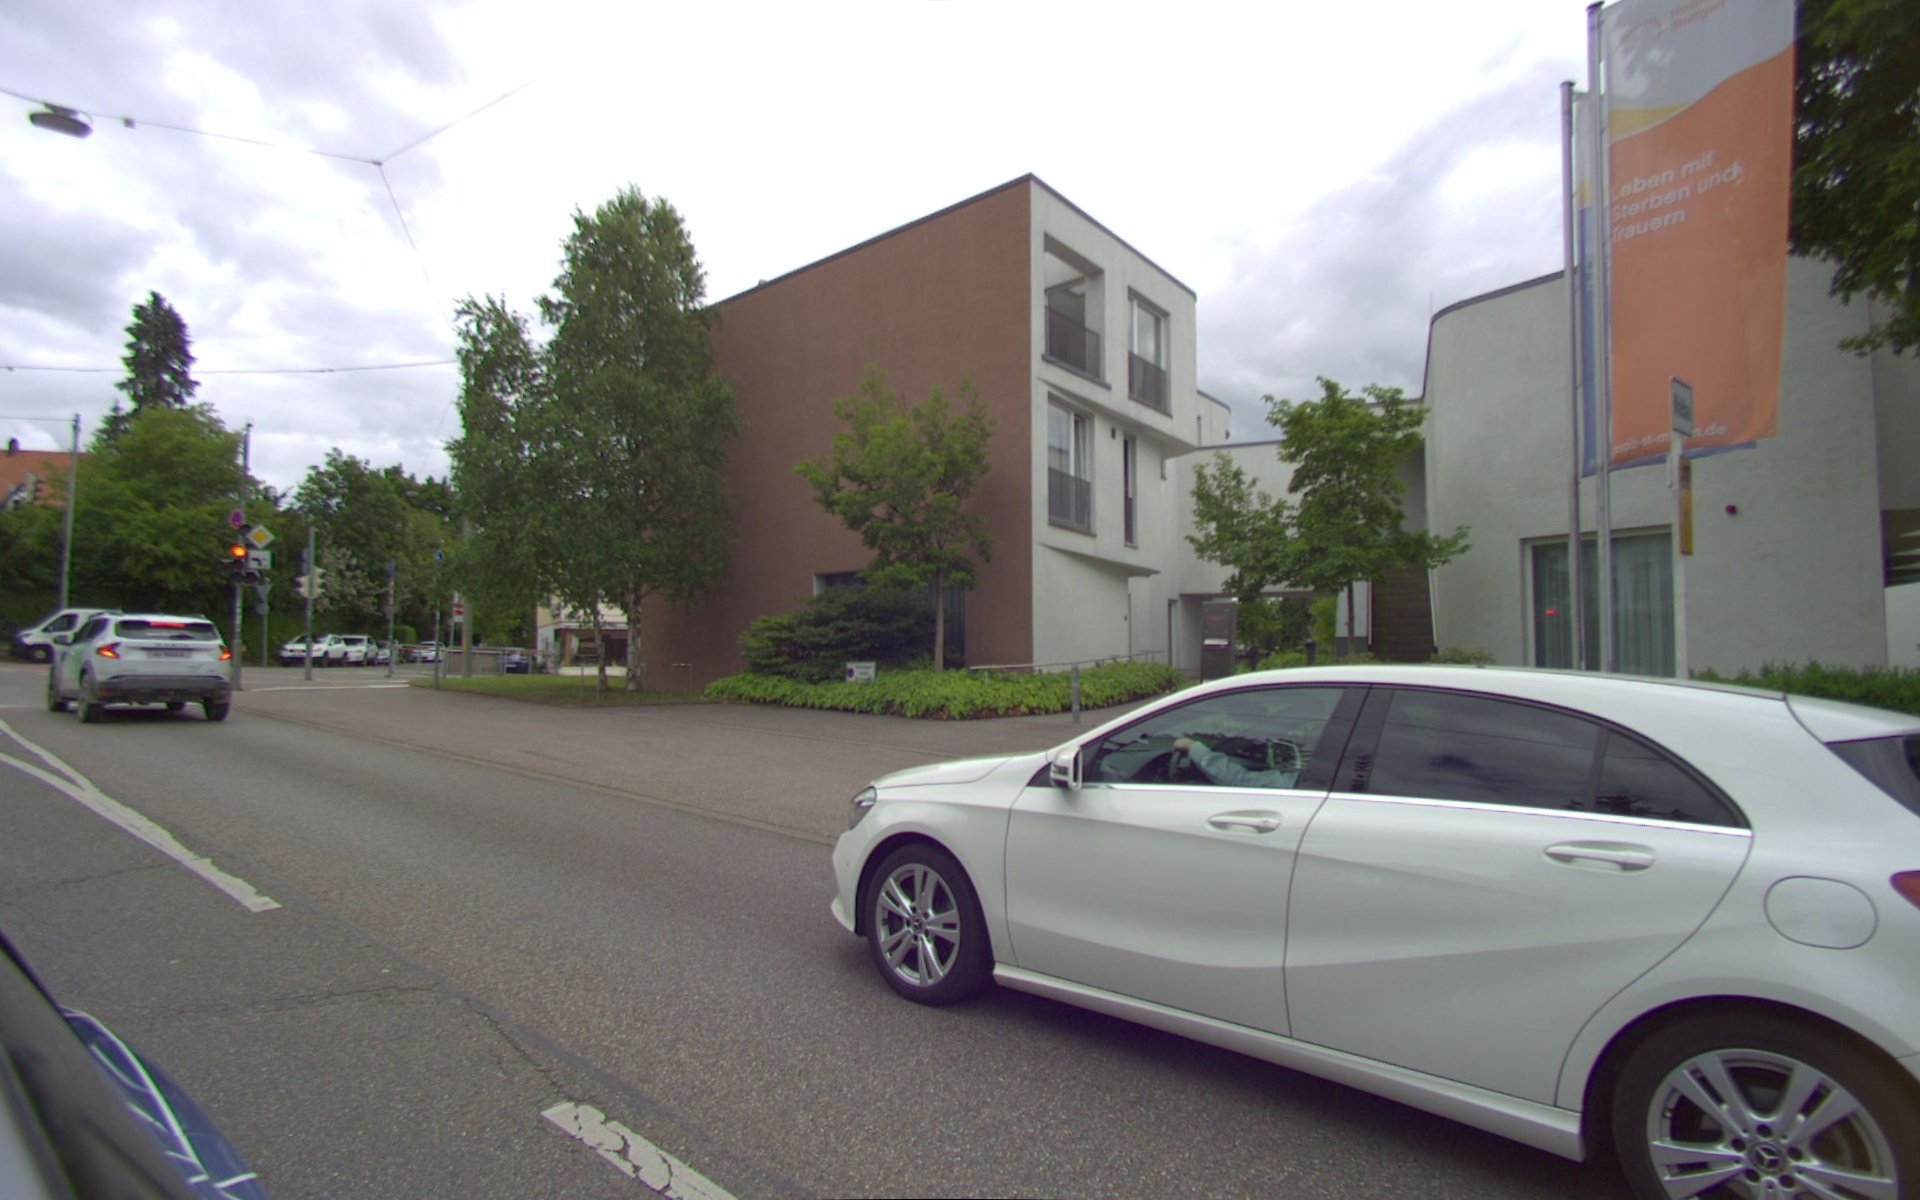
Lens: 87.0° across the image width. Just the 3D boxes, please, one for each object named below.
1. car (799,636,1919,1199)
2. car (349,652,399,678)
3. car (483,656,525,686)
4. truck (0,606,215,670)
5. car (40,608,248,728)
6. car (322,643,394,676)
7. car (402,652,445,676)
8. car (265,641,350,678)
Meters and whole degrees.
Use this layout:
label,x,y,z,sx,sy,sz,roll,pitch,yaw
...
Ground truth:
label,x,y,z,sx,sy,sz,roll,pitch,yaw
car,1.433,0.920,3.688,4.063,1.432,1.748,-1,-5,41
car,-34.222,3.789,59.190,1.840,1.464,3.742,2,-4,-20
car,-23.887,3.708,53.115,1.848,1.460,4.013,4,-5,-24
truck,-34.257,1.588,40.799,6.609,2.205,2.535,5,-5,-38
car,-13.056,1.049,16.110,4.300,1.650,1.750,-1,-7,41
car,-31.877,3.191,53.730,1.967,1.625,4.008,3,-4,-11
car,-38.902,4.645,73.438,1.841,1.599,3.740,3,-4,-14
car,-30.973,2.844,48.187,1.967,1.625,4.008,3,-4,-11
